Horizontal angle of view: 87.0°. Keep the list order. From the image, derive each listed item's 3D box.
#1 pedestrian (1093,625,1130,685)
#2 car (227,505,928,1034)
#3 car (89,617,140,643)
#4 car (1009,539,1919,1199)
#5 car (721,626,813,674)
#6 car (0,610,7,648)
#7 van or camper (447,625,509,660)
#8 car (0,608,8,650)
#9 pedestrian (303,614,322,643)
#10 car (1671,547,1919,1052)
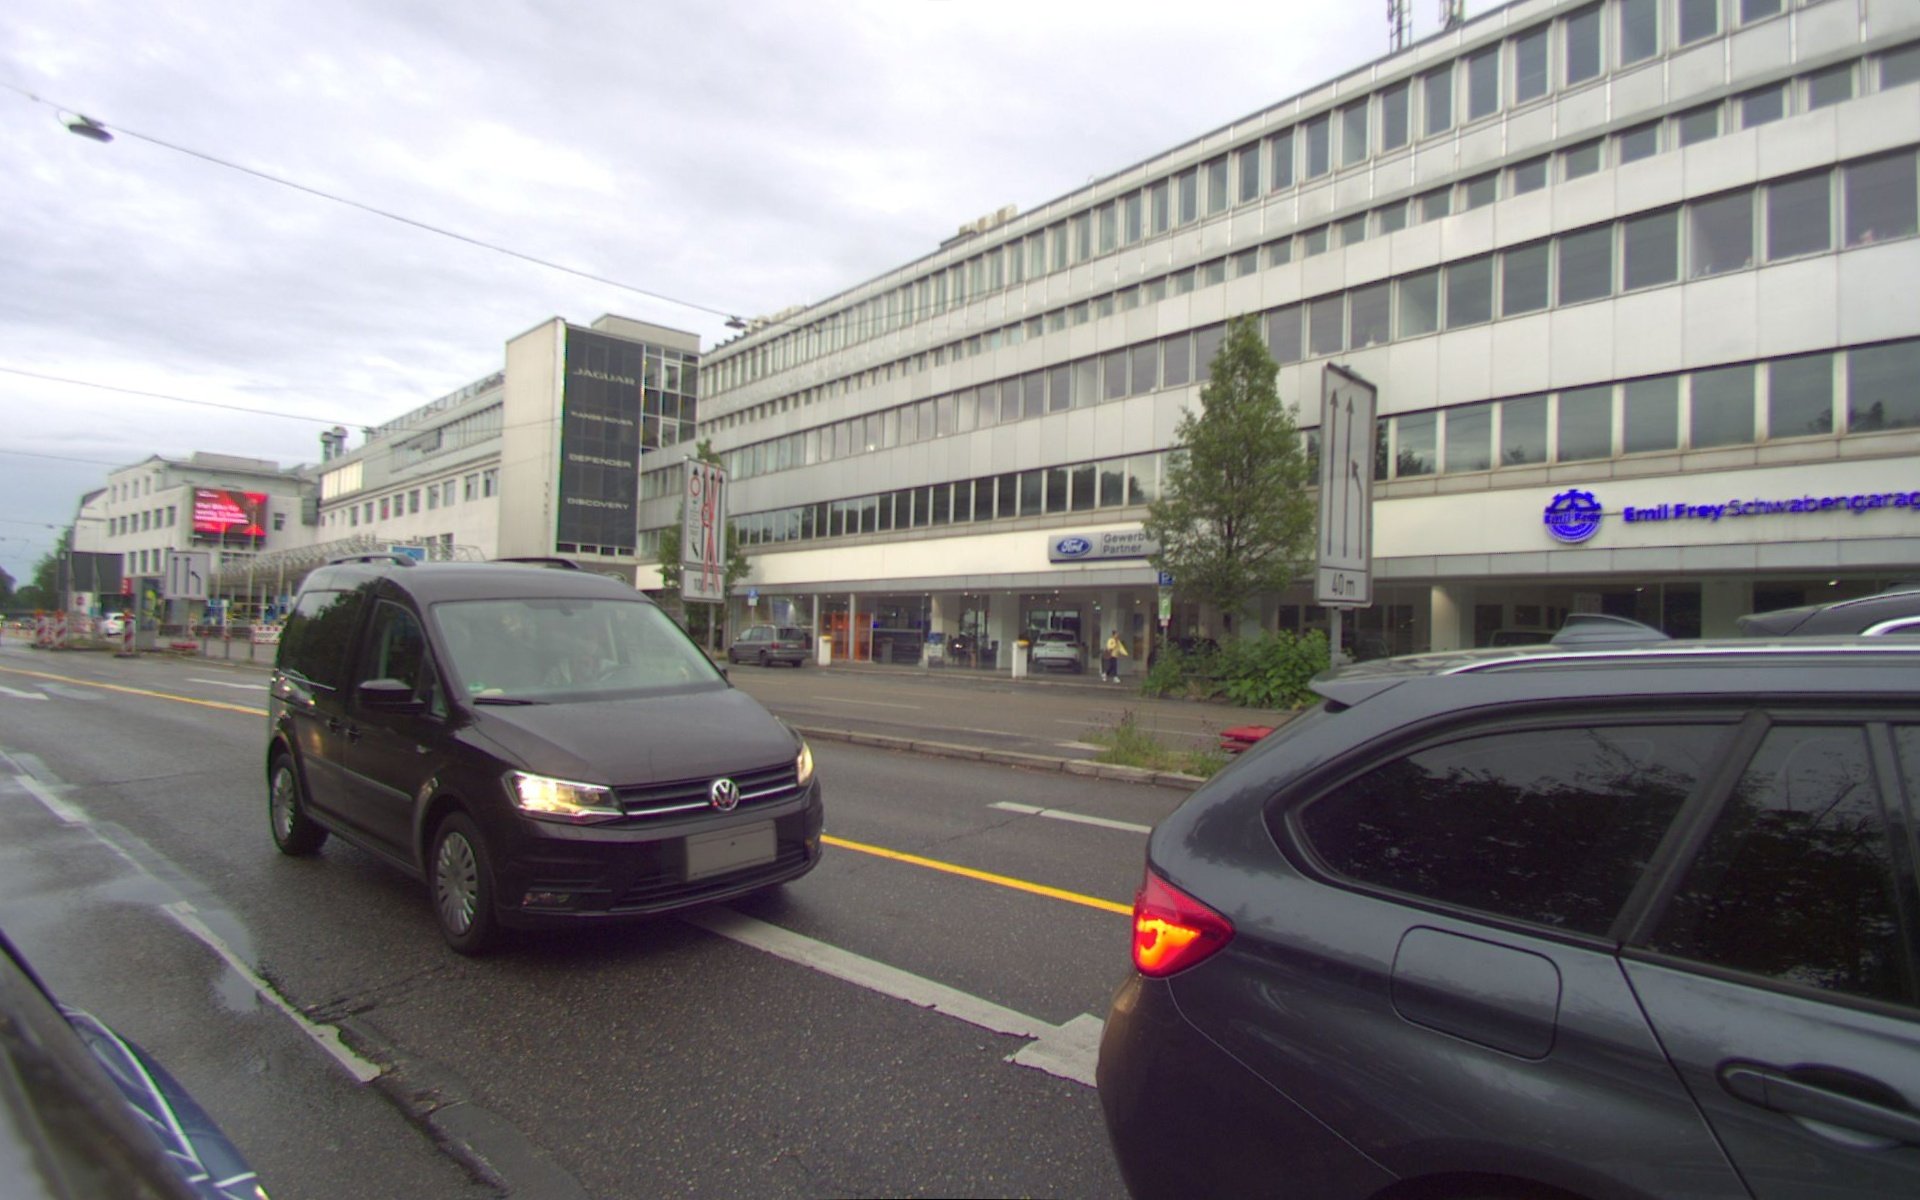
[{"bbox_3d":[4.730,1.703,31.575,0.750,1.788,0.865,-1,0,-42],"label":"pedestrian"},{"bbox_3d":[-2.426,0.599,5.701,4.429,1.828,1.880,-1,0,42],"label":"car"},{"bbox_3d":[-53.094,1.900,63.513,3.762,1.544,1.782,-2,-6,41],"label":"car"},{"bbox_3d":[2.336,0.690,1.080,4.476,1.469,1.757,-1,-3,42],"label":"car"},{"bbox_3d":[-8.249,2.074,43.101,1.895,1.829,4.169,-1,0,-44],"label":"car"},{"bbox_3d":[-43.161,1.263,44.344,3.948,1.629,1.747,-1,0,43],"label":"car"},{"bbox_3d":[-27.750,2.408,58.225,1.912,1.938,4.690,2,-3,-42],"label":"van or camper"},{"bbox_3d":[-39.657,1.164,40.675,4.333,1.650,1.747,-1,0,43],"label":"car"},{"bbox_3d":[-42.513,1.860,66.462,0.882,1.828,0.942,-1,0,-45],"label":"pedestrian"},{"bbox_3d":[4.902,0.637,2.925,4.445,1.668,1.789,-1,0,44],"label":"car"}]
